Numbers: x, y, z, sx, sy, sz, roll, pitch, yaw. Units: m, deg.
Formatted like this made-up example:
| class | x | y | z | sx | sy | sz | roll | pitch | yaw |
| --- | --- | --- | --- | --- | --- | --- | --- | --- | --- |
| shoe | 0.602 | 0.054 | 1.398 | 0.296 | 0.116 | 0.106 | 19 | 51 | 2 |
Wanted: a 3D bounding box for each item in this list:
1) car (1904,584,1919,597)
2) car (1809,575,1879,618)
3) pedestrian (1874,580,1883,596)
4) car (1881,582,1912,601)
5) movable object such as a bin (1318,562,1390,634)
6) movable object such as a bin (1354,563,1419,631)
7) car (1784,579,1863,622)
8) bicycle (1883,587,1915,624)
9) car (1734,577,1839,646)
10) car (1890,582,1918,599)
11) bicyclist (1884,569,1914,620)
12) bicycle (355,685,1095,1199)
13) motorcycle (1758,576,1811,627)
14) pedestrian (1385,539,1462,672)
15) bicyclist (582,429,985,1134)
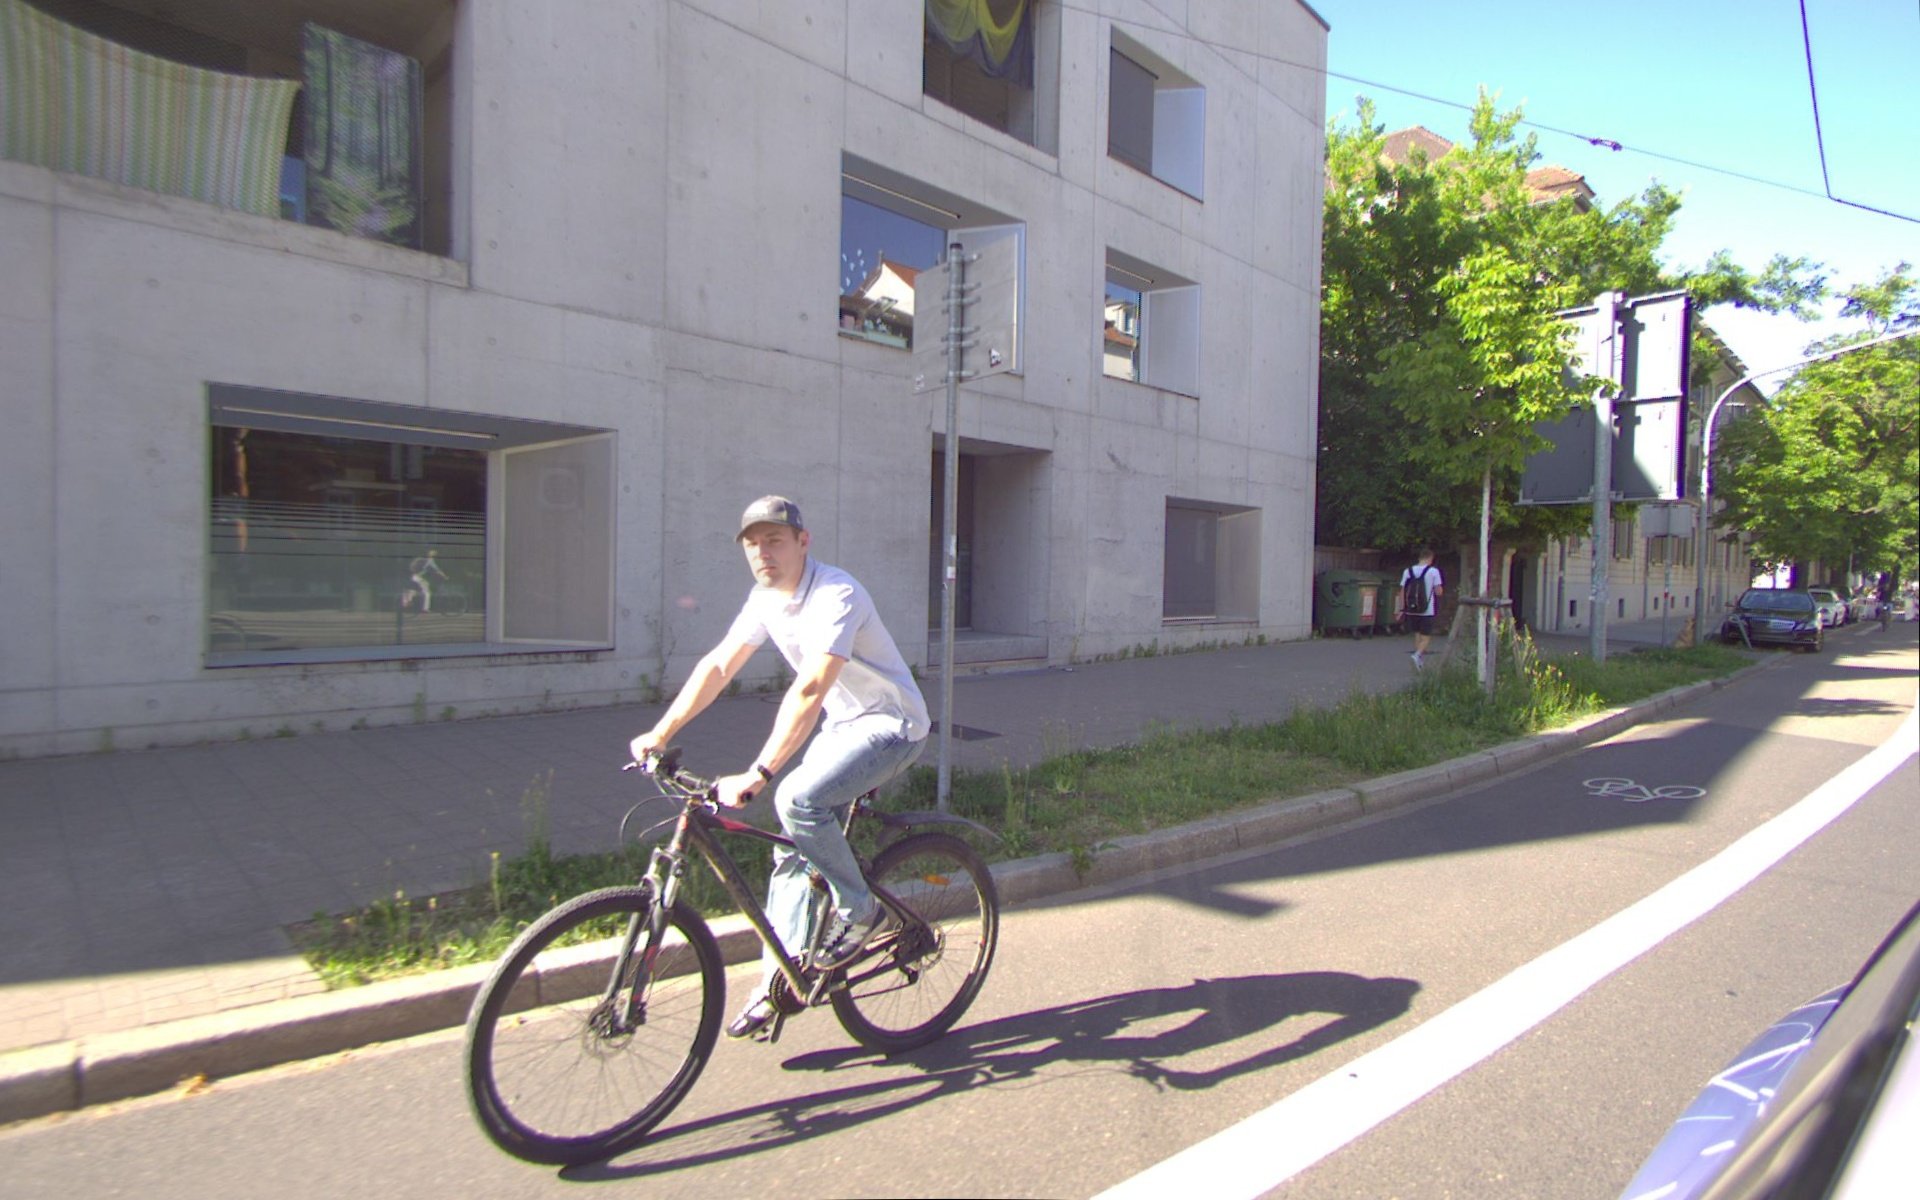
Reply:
| class | x | y | z | sx | sy | sz | roll | pitch | yaw |
| --- | --- | --- | --- | --- | --- | --- | --- | --- | --- |
| car | 114.752 | -1.189 | 121.584 | 1.756 | 1.485 | 4.544 | 4 | 3 | 42 |
| car | 37.579 | -0.190 | 43.000 | 4.509 | 1.645 | 1.813 | -1 | 4 | -45 |
| pedestrian | 114.337 | -1.522 | 125.968 | 0.739 | 2.038 | 0.679 | 2 | 1 | 37 |
| car | 78.238 | -0.720 | 84.540 | 4.145 | 1.490 | 1.703 | -1 | 3 | -45 |
| movable object such as a bin | 8.374 | -0.059 | 21.487 | 1.332 | 1.481 | 0.934 | -1 | 2 | -43 |
| movable object such as a bin | 9.637 | -0.092 | 22.871 | 0.933 | 1.481 | 1.310 | 2 | 2 | 44 |
| car | 32.049 | -0.006 | 37.512 | 4.283 | 1.398 | 1.726 | -1 | 4 | -44 |
| bicycle | 33.189 | 0.170 | 35.766 | 0.761 | 1.258 | 2.062 | 1 | 1 | 45 |
| car | 20.847 | 0.212 | 25.451 | 1.821 | 1.476 | 4.746 | 5 | 4 | 41 |
| car | 90.912 | -0.894 | 97.477 | 1.819 | 1.501 | 4.677 | 4 | 3 | 42 |
| bicyclist | 33.214 | -0.198 | 35.791 | 0.761 | 1.760 | 1.030 | 1 | 1 | 45 |
| bicycle | -0.542 | 0.906 | 3.028 | 2.076 | 1.108 | 0.739 | -1 | 1 | -43 |
| motorcycle | 26.076 | 0.009 | 32.000 | 2.635 | 1.506 | 0.915 | -1 | 4 | -44 |
| pedestrian | 6.811 | 0.054 | 14.865 | 0.684 | 1.872 | 0.940 | 4 | 3 | 44 |
| bicyclist | -0.520 | 0.431 | 3.049 | 0.955 | 1.707 | 0.739 | 0 | 0 | -43 |
